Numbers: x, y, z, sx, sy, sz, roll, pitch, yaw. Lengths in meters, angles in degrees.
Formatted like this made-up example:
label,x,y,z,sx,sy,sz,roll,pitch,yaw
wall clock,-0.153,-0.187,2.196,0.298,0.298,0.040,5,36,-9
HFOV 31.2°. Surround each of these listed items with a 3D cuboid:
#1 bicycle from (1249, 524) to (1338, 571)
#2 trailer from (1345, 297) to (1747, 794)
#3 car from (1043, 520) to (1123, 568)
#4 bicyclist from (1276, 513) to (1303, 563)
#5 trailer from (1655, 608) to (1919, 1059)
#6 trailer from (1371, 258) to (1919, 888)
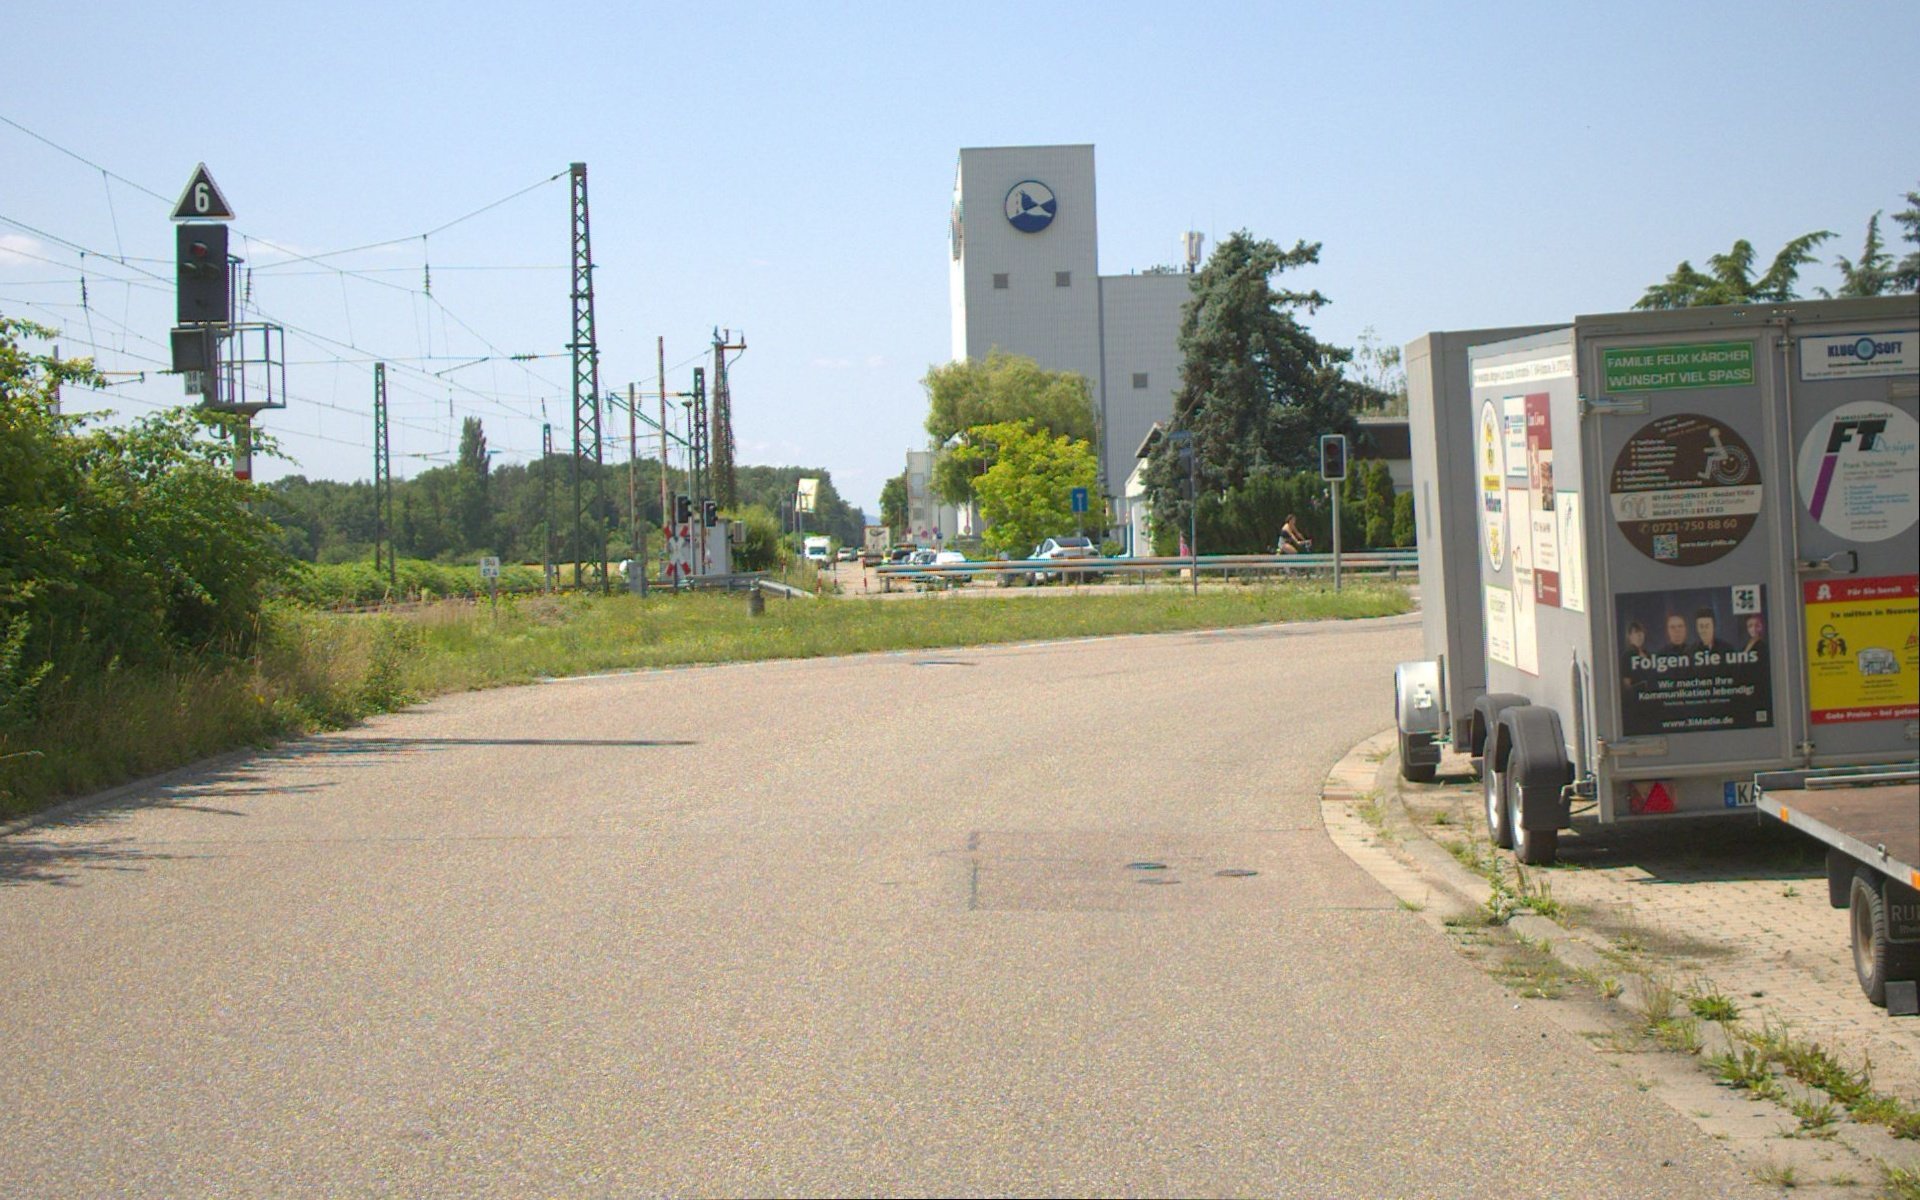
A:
label,x,y,z,sx,sy,sz,roll,pitch,yaw
bicycle,8.550,-1.338,88.187,2.142,1.161,0.660,-1,1,26
trailer,3.547,-0.362,21.723,1.933,2.635,5.183,-4,1,5
car,4.073,-1.858,114.521,1.993,1.504,4.455,-2,1,-6
bicyclist,8.455,-1.587,88.211,0.510,1.251,0.469,-1,1,26
trailer,3.670,0.614,11.185,2.005,1.119,4.488,-4,0,2
trailer,3.323,-0.163,16.629,1.919,2.499,4.741,-4,1,0
